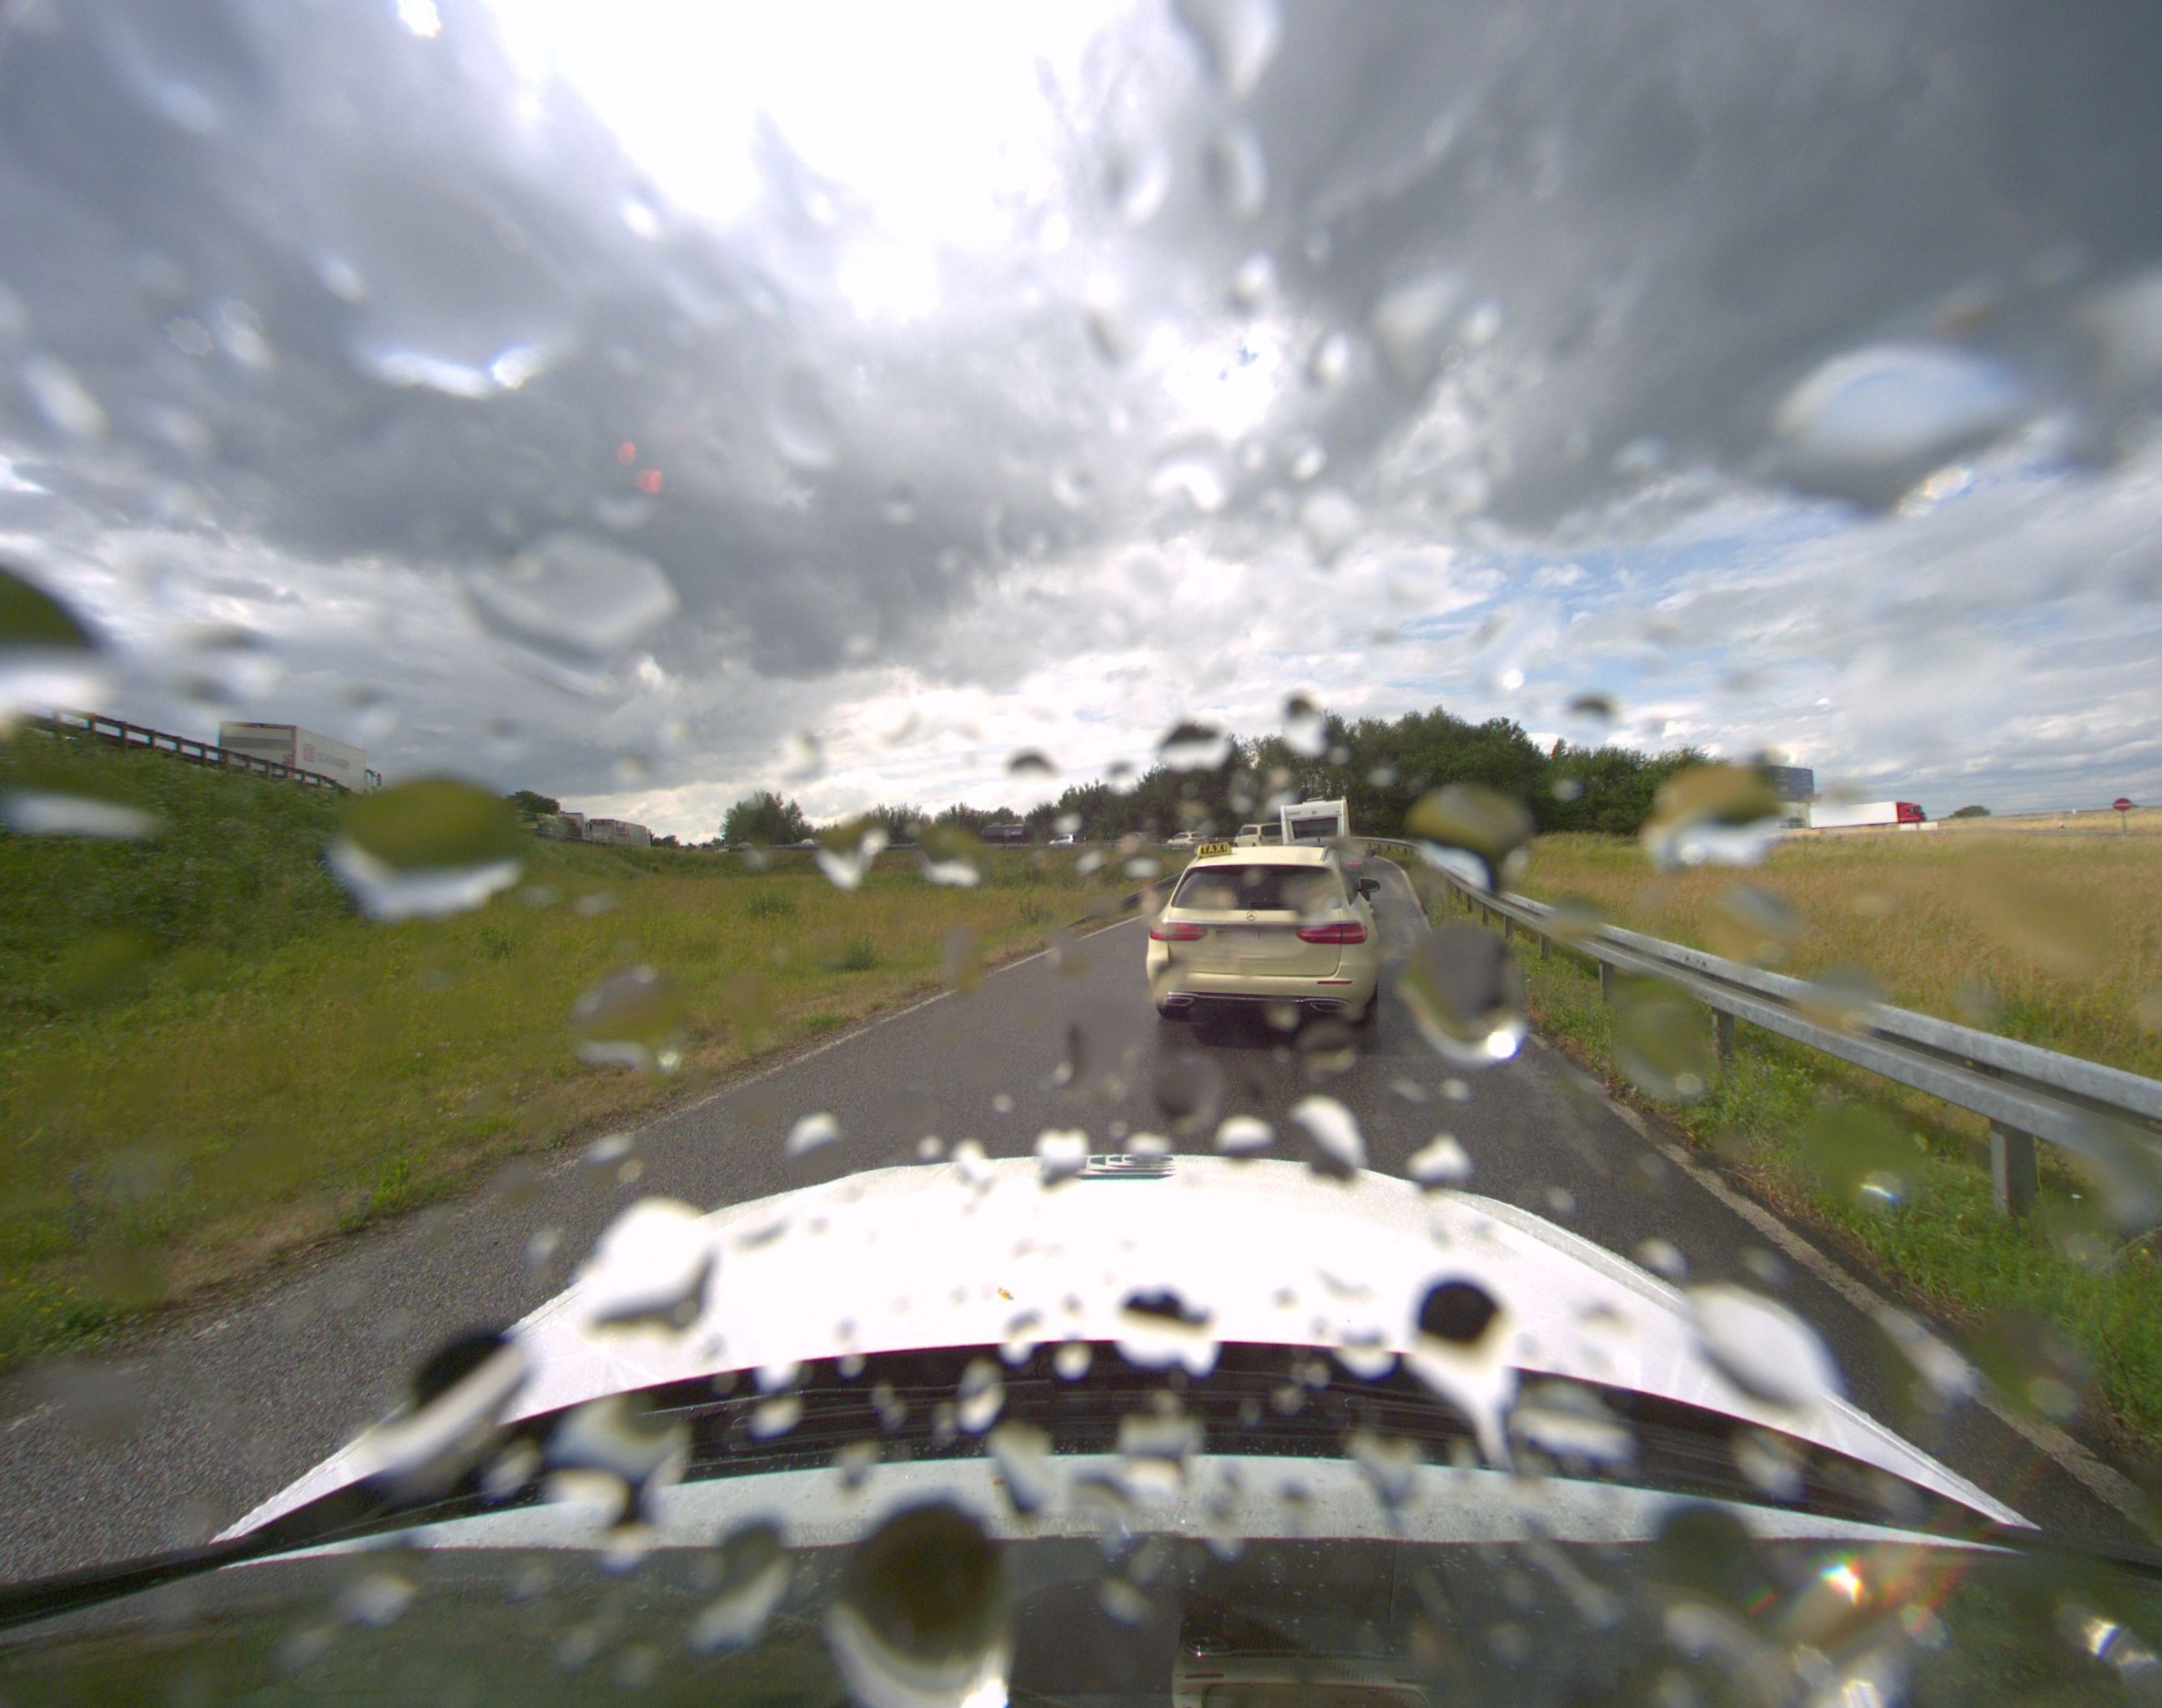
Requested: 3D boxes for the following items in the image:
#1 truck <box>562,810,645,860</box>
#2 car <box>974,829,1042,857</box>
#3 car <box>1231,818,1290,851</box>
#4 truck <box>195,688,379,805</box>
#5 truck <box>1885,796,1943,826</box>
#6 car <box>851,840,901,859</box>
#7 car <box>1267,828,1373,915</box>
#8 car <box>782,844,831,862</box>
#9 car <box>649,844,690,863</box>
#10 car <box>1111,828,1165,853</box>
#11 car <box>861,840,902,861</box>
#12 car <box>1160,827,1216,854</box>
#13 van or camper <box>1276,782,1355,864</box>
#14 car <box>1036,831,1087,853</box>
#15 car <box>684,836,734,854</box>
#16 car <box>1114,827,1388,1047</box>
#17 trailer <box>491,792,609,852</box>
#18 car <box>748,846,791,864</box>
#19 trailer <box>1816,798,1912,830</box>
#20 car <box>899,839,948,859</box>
[{"bbox_3d":[-56.948,-2.034,97.996,4.472,4.504,19.254,-1,-3,-18],"label":"truck"},{"bbox_3d":[-7.691,-1.144,85.621,6.893,2.595,2.894,-2,1,37],"label":"car"},{"bbox_3d":[11.688,-1.206,53.330,1.993,1.861,5.041,-3,-1,-9],"label":"car"},{"bbox_3d":[-38.104,-4.887,39.650,3.194,3.967,9.164,-1,-3,-23],"label":"truck"},{"bbox_3d":[101.188,-5.184,98.941,3.214,3.135,4.247,0,-3,-34],"label":"truck"},{"bbox_3d":[-23.216,-0.537,92.365,5.003,1.861,2.008,-3,-1,15],"label":"car"},{"bbox_3d":[4.971,0.299,16.577,1.703,1.525,4.021,-2,0,21],"label":"car"},{"bbox_3d":[-32.036,-0.093,94.972,5.003,1.861,2.008,-3,-1,15],"label":"car"},{"bbox_3d":[-47.334,-0.106,93.734,4.005,2.014,1.812,-1,-3,-24],"label":"car"},{"bbox_3d":[5.005,-1.174,72.324,2.008,1.861,5.003,-2,-1,-34],"label":"car"},{"bbox_3d":[-22.674,-0.394,92.445,3.949,2.012,2.014,-1,8,27],"label":"car"},{"bbox_3d":[8.348,-1.025,63.959,2.002,1.861,5.018,-2,-1,-23],"label":"car"},{"bbox_3d":[8.929,-1.007,30.629,2.410,2.730,6.031,-1,-1,20],"label":"van or camper"},{"bbox_3d":[-1.959,-1.174,80.615,4.993,1.861,2.012,-4,-1,43],"label":"car"},{"bbox_3d":[-44.572,-1.096,97.638,5.020,1.861,2.002,-3,-1,3],"label":"car"},{"bbox_3d":[1.901,0.550,8.036,1.900,1.507,4.618,-1,0,18],"label":"car"},{"bbox_3d":[-51.087,-2.798,79.524,4.425,3.956,20.091,-1,-3,-18],"label":"trailer"},{"bbox_3d":[-38.115,0.123,99.699,4.471,1.861,2.004,-3,-1,7],"label":"car"},{"bbox_3d":[98.615,-4.983,102.760,3.204,3.211,8.114,0,-3,-34],"label":"trailer"},{"bbox_3d":[-17.361,-0.511,89.768,4.997,1.861,2.010,-3,-1,21],"label":"car"}]
